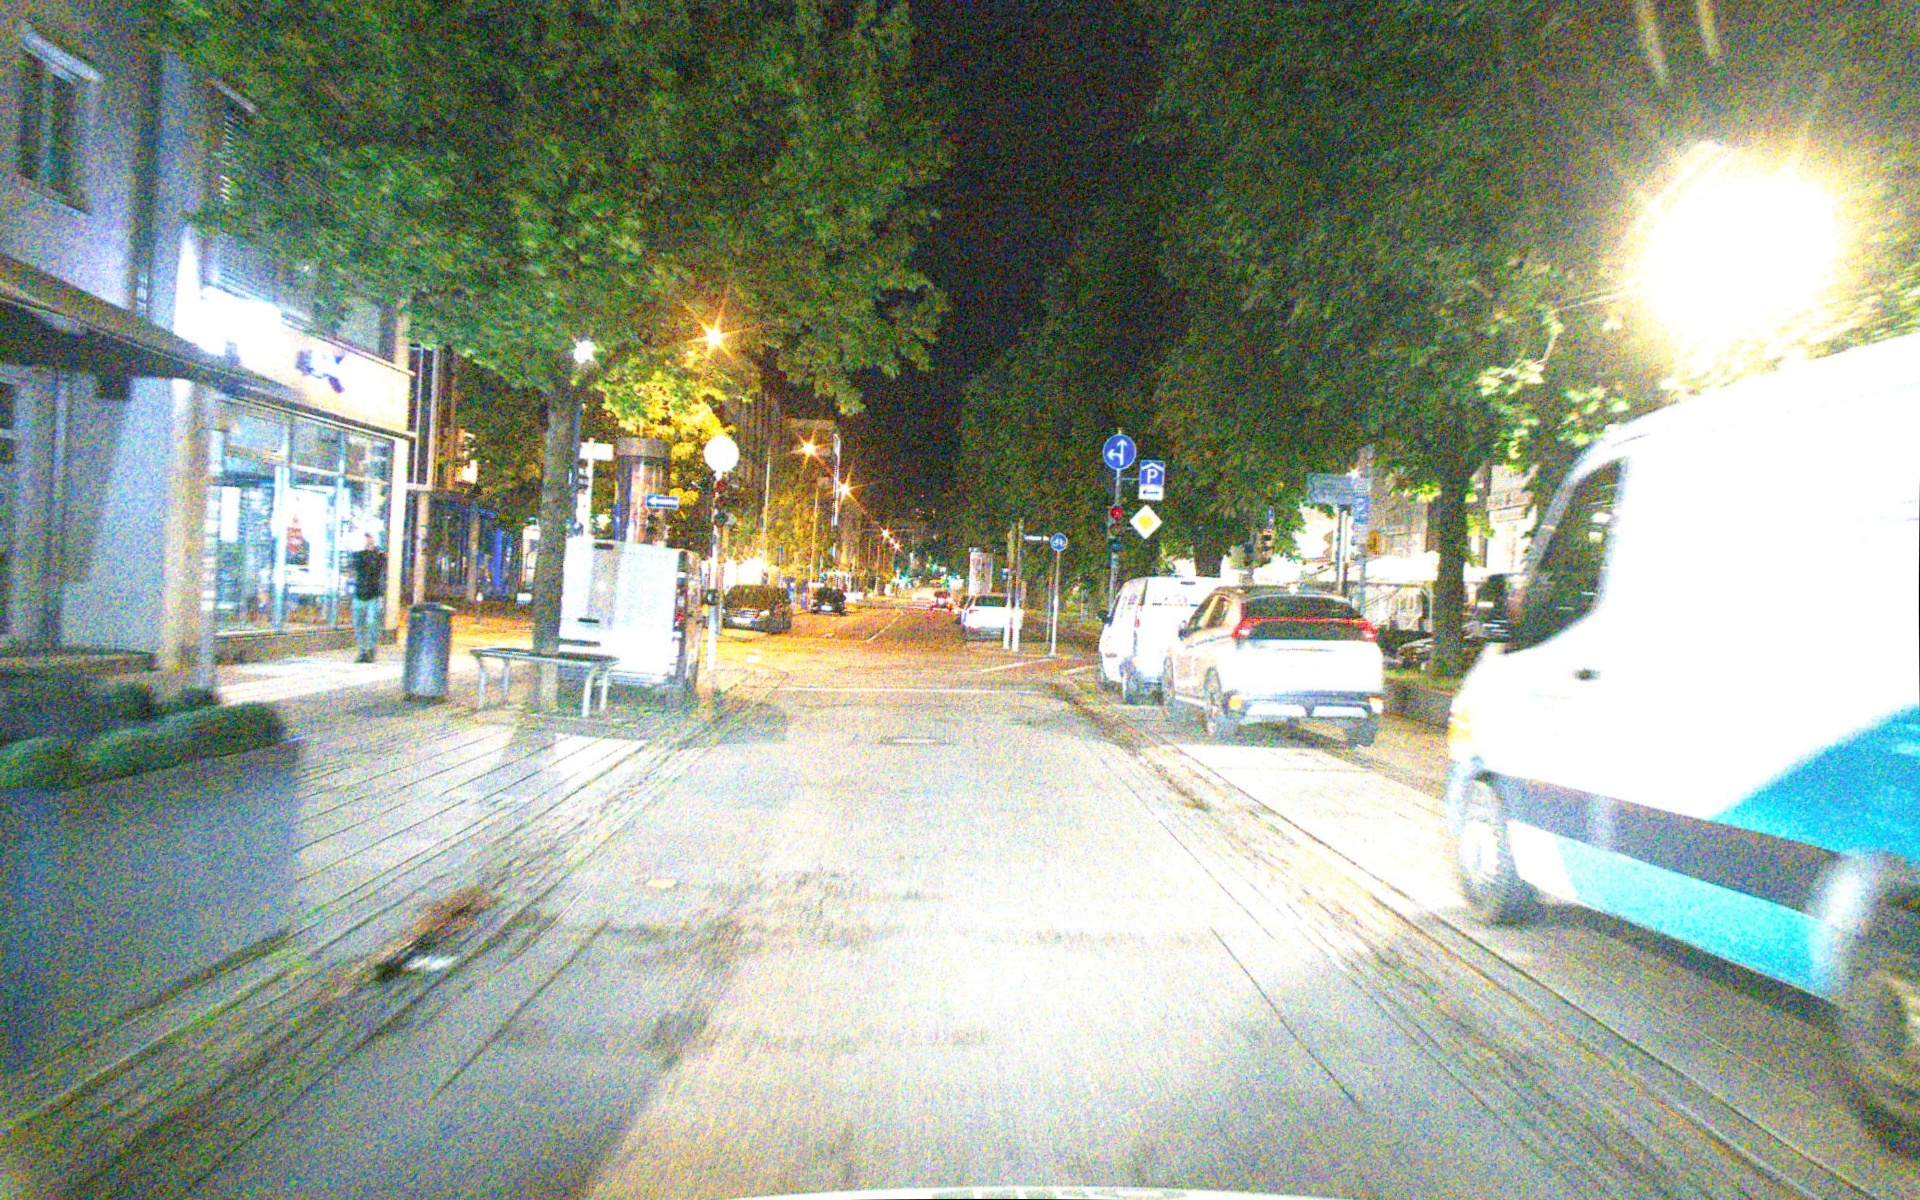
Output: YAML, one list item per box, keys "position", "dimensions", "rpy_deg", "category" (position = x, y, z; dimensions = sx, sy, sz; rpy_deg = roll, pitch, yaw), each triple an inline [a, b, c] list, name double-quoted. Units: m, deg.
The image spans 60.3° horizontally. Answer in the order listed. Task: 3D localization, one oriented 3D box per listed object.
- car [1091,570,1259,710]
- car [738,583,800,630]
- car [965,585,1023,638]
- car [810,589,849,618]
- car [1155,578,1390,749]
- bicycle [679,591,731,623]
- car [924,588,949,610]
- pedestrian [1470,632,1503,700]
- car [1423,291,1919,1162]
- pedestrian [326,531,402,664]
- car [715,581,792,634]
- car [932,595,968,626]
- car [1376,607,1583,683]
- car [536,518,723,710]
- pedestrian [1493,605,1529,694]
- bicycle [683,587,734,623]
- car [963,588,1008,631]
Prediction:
- position: [3.134, 0.535, 24.993]
  dimensions: [1.753, 1.854, 4.578]
  rpy_deg: [2, 0, -2]
  category: "car"
- position: [-6.738, 0.216, 58.712]
  dimensions: [1.687, 1.453, 3.976]
  rpy_deg: [5, 0, -1]
  category: "car"
- position: [1.043, 0.337, 52.501]
  dimensions: [1.734, 1.563, 4.216]
  rpy_deg: [1, 0, 0]
  category: "car"
- position: [-7.152, 0.160, 90.715]
  dimensions: [1.706, 1.438, 4.495]
  rpy_deg: [4, 0, 0]
  category: "car"
- position: [3.436, 0.631, 18.998]
  dimensions: [1.650, 1.688, 4.295]
  rpy_deg: [2, 0, -3]
  category: "car"
- position: [-9.624, 0.272, 62.394]
  dimensions: [1.814, 1.053, 0.532]
  rpy_deg: [4, 0, -1]
  category: "bicycle"
- position: [-1.888, -0.104, 131.574]
  dimensions: [1.953, 1.672, 3.999]
  rpy_deg: [2, 0, -1]
  category: "car"
- position: [9.368, 1.171, 29.403]
  dimensions: [0.383, 1.189, 0.517]
  rpy_deg: [2, 0, 34]
  category: "pedestrian"
- position: [3.613, 0.356, 6.207]
  dimensions: [2.091, 2.367, 5.150]
  rpy_deg: [2, 0, -2]
  category: "car"
- position: [-8.110, -0.042, 22.527]
  dimensions: [0.655, 1.749, 0.908]
  rpy_deg: [2, 0, -1]
  category: "pedestrian"
- position: [-6.513, 0.221, 52.548]
  dimensions: [1.770, 1.449, 4.920]
  rpy_deg: [5, 0, -1]
  category: "car"
- position: [-0.501, 0.516, 84.987]
  dimensions: [1.728, 1.439, 4.807]
  rpy_deg: [2, 0, 0]
  category: "car"
- position: [12.065, 1.029, 38.563]
  dimensions: [4.229, 1.558, 1.802]
  rpy_deg: [2, -1, -2]
  category: "car"
- position: [-4.258, 0.145, 22.059]
  dimensions: [1.817, 2.123, 5.084]
  rpy_deg: [5, 0, -6]
  category: "car"
- position: [10.138, 0.907, 30.431]
  dimensions: [0.472, 1.615, 0.370]
  rpy_deg: [2, 0, 35]
  category: "pedestrian"
- position: [-9.606, 0.195, 63.077]
  dimensions: [1.813, 1.275, 0.532]
  rpy_deg: [3, 0, -1]
  category: "bicycle"
- position: [0.996, 0.355, 66.098]
  dimensions: [1.655, 1.563, 4.015]
  rpy_deg: [4, 0, 0]
  category: "car"
